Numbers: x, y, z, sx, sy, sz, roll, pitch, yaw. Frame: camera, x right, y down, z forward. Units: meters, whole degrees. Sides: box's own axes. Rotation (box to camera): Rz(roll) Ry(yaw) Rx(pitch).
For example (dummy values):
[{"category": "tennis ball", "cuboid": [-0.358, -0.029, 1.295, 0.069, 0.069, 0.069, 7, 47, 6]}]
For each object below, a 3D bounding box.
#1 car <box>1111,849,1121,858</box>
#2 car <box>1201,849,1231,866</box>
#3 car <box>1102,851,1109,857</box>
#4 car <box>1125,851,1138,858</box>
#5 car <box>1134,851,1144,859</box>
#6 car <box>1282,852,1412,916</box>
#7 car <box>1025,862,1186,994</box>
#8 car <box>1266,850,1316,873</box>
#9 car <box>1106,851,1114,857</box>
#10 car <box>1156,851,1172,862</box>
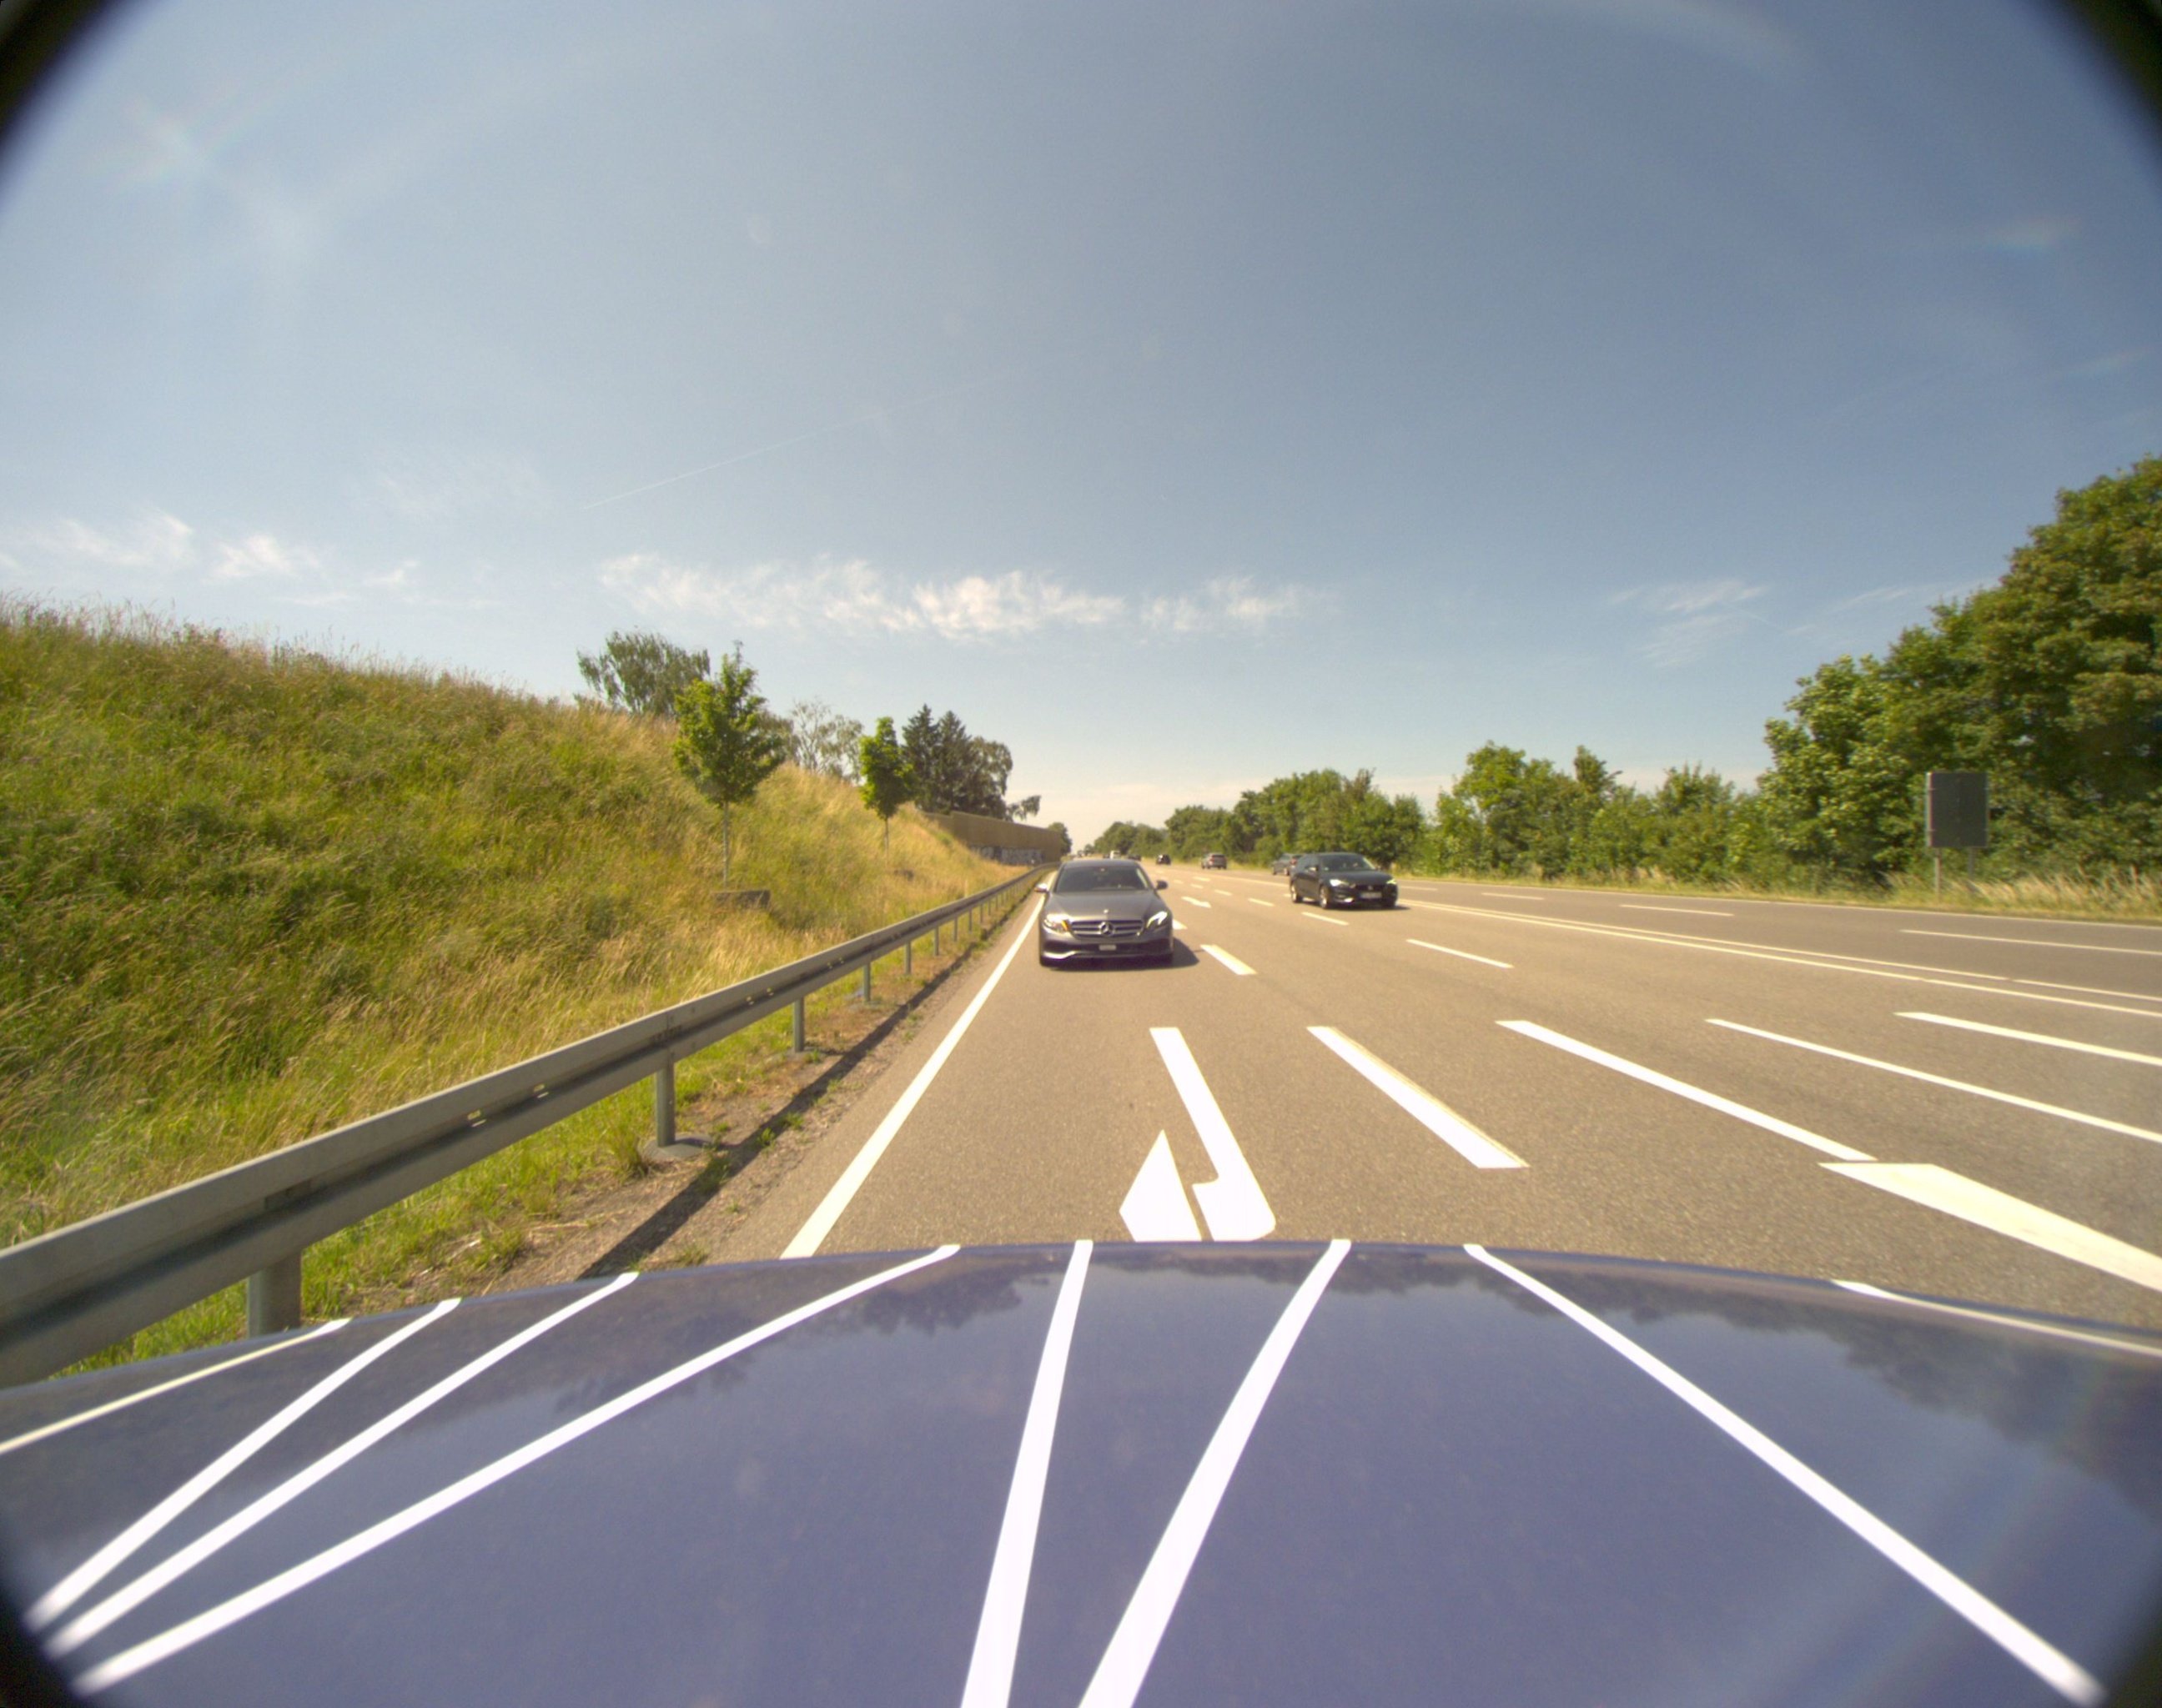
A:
[{"category": "car", "cuboid": [7.560, -0.197, 164.896, 1.910, 1.906, 5.051, 0, 0, 0]}, {"category": "car", "cuboid": [13.674, 0.349, 77.352, 2.033, 1.630, 4.568, -2, 1, -2]}, {"category": "car", "cuboid": [7.430, -0.043, 234.977, 1.834, 1.835, 3.847, -2, 1, -2]}, {"category": "car", "cuboid": [9.166, 0.105, 139.029, 1.810, 1.272, 4.764, -1, 0, -3]}, {"category": "car", "cuboid": [12.050, 0.169, 158.323, 1.526, 1.461, 3.787, -2, 1, -3]}, {"category": "car", "cuboid": [6.965, 0.715, 20.459, 1.894, 1.439, 4.525, -2, 1, 0]}, {"category": "car", "cuboid": [0.234, 0.909, 11.391, 1.894, 1.439, 4.524, -2, 1, -2]}, {"category": "car", "cuboid": [13.604, 0.454, 49.580, 1.883, 1.390, 4.530, -2, 1, -2]}, {"category": "car", "cuboid": [7.772, 0.026, 205.328, 1.893, 1.527, 4.525, -2, 1, 1]}, {"category": "car", "cuboid": [11.501, 0.368, 104.897, 1.649, 1.479, 3.557, -2, 1, -2]}]
